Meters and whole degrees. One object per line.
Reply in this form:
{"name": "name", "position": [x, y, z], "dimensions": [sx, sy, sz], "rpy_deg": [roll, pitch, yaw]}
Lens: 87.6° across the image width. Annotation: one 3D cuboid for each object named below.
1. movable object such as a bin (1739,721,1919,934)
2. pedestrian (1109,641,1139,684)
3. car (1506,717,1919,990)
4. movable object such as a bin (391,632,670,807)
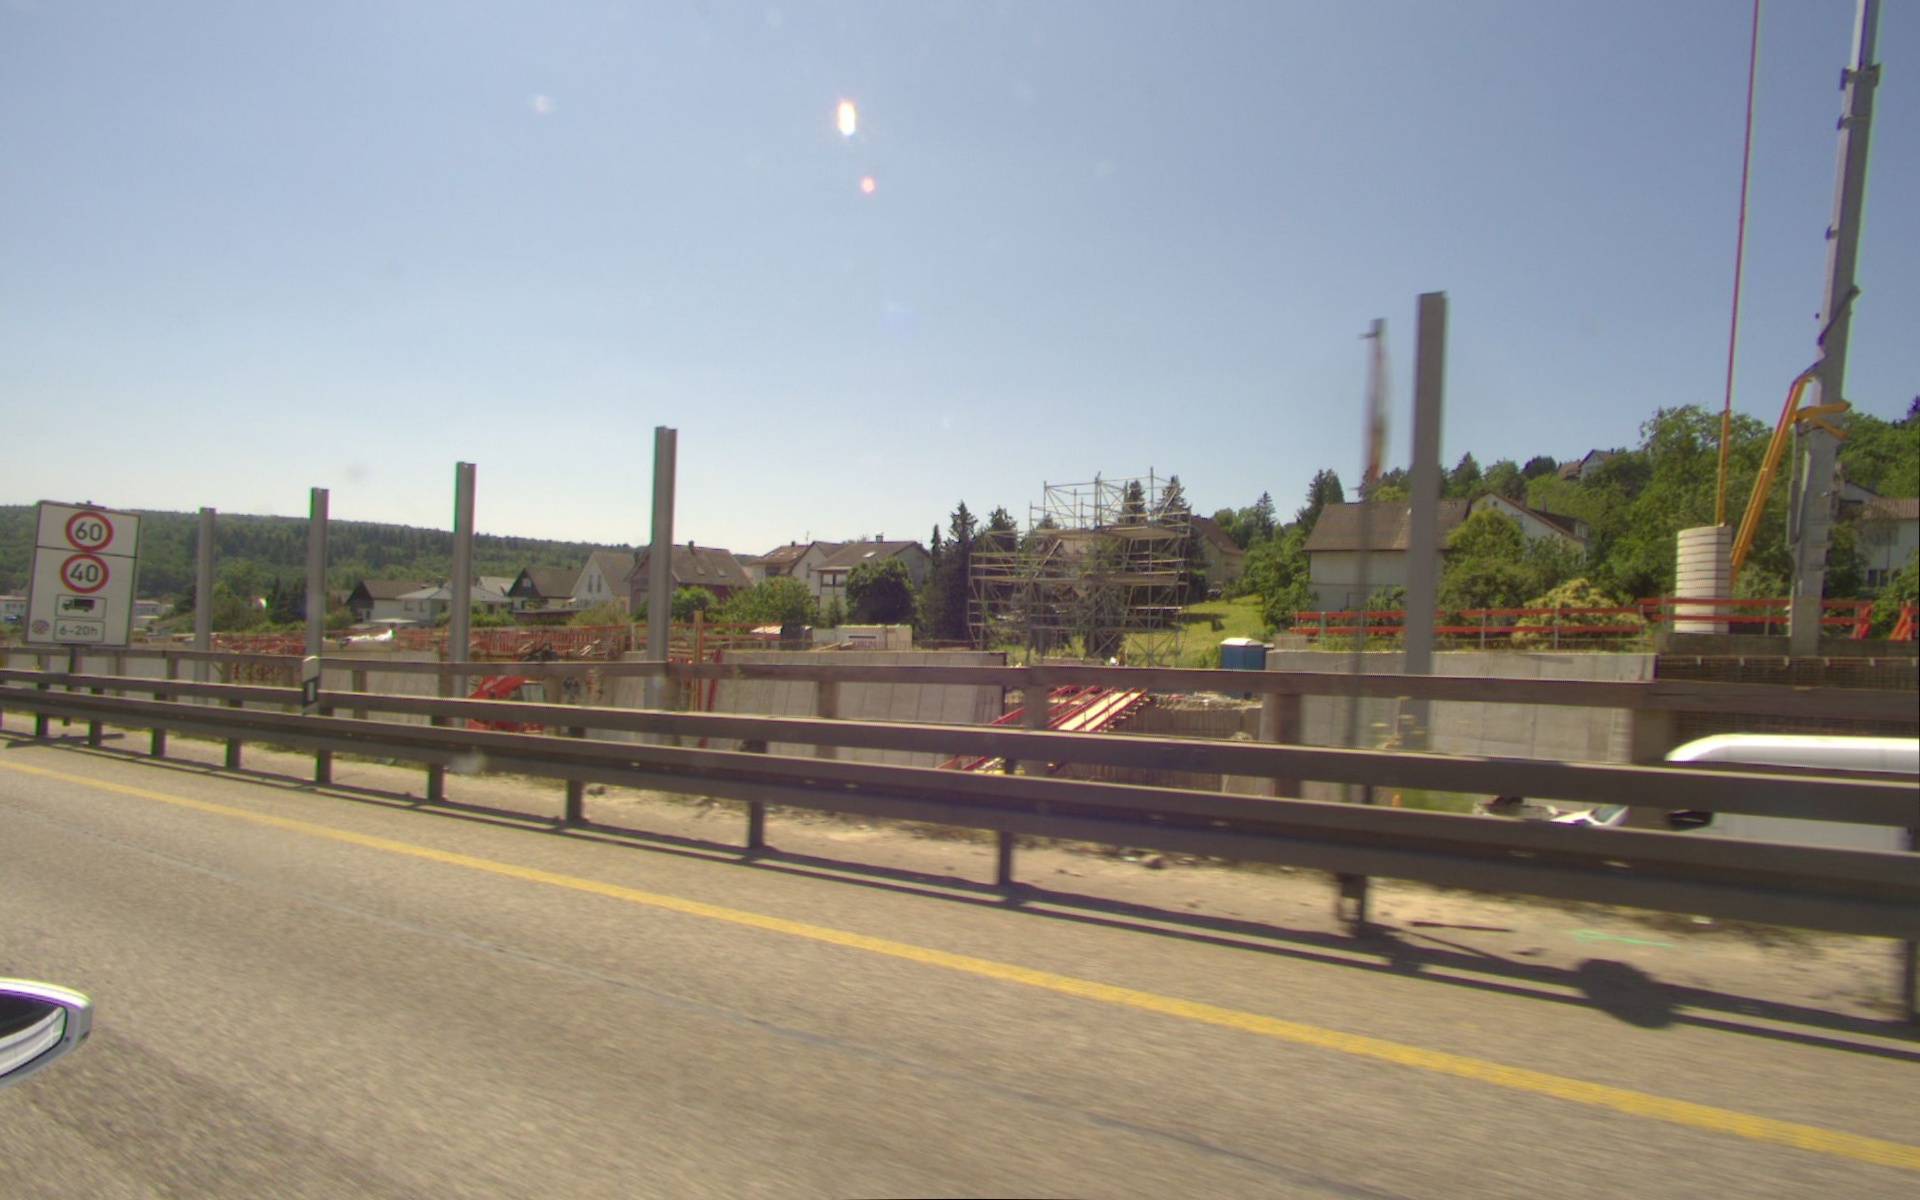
{"name": "movable object such as a bin", "position": [14.594, 3.258, 14.215], "dimensions": [5.430, 2.710, 2.138], "rpy_deg": [-2, -2, 37]}
{"name": "pedestrian", "position": [7.788, 2.969, 47.513], "dimensions": [0.960, 2.013, 1.134], "rpy_deg": [-2, -2, 35]}
{"name": "car", "position": [11.222, 3.175, 13.076], "dimensions": [6.932, 2.892, 2.139], "rpy_deg": [-2, -2, 36]}
{"name": "movable object such as a bin", "position": [-13.677, 3.500, 31.492], "dimensions": [9.518, 4.803, 3.222], "rpy_deg": [-2, -2, 32]}
